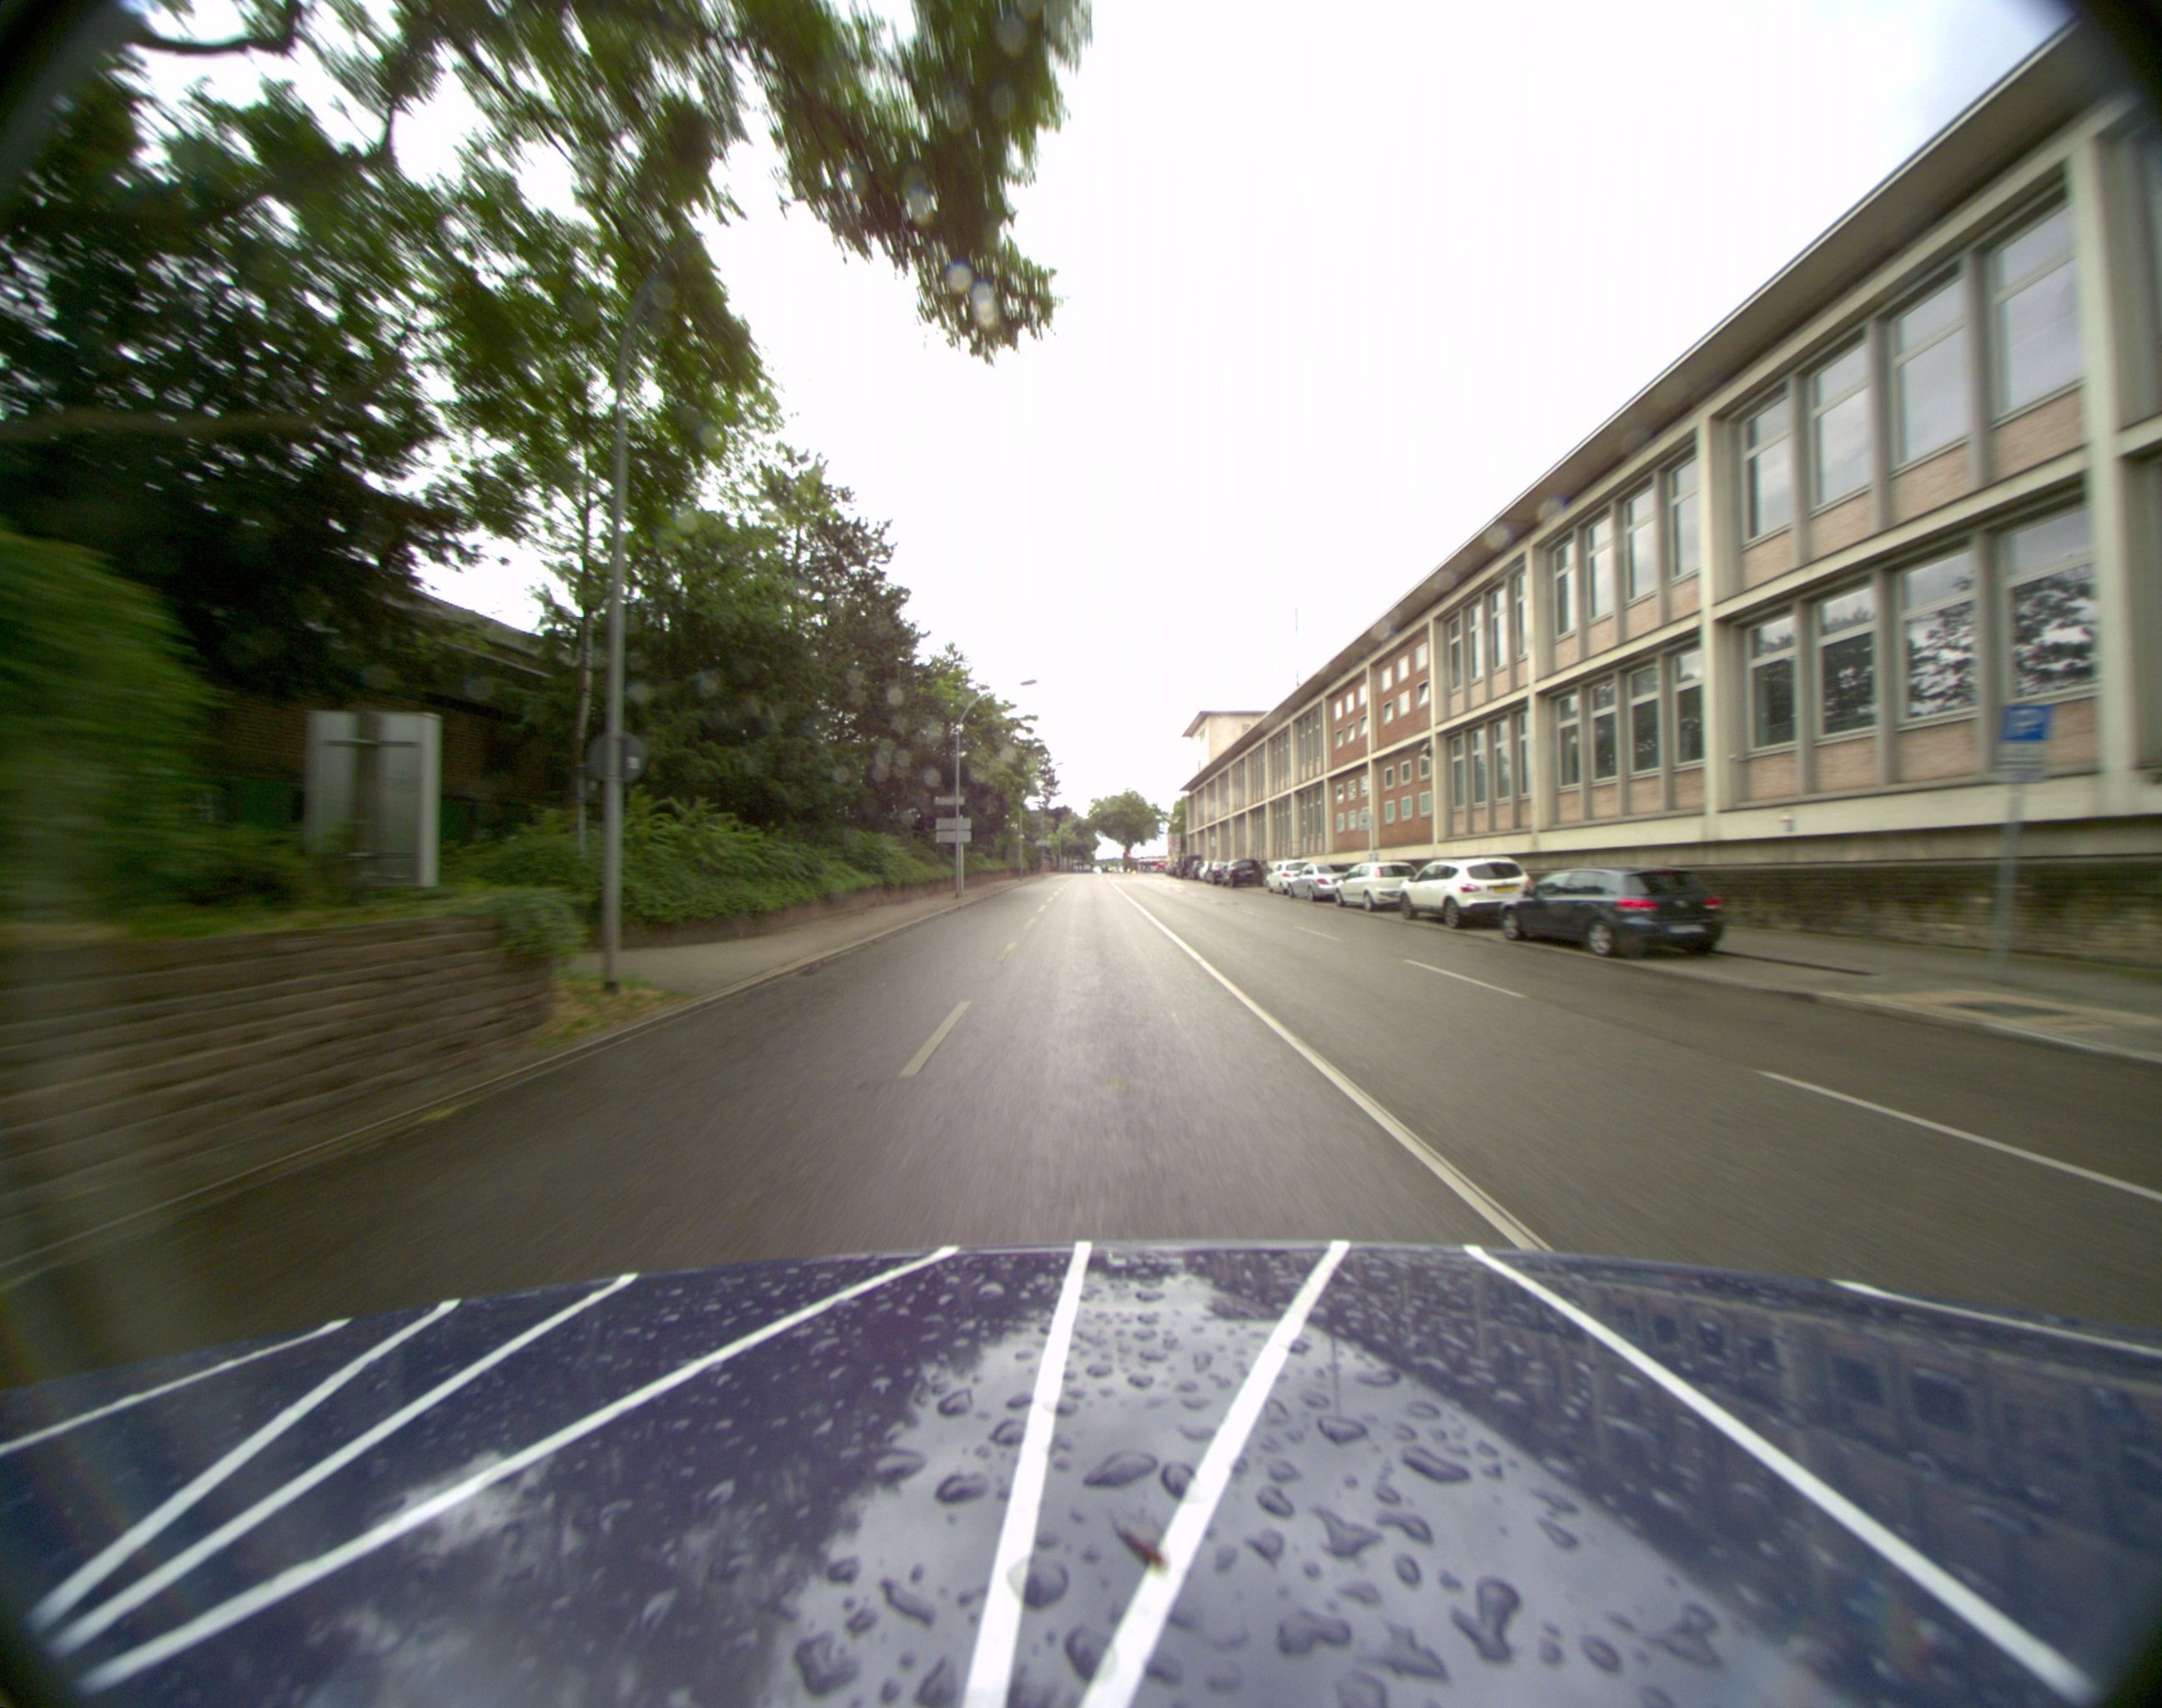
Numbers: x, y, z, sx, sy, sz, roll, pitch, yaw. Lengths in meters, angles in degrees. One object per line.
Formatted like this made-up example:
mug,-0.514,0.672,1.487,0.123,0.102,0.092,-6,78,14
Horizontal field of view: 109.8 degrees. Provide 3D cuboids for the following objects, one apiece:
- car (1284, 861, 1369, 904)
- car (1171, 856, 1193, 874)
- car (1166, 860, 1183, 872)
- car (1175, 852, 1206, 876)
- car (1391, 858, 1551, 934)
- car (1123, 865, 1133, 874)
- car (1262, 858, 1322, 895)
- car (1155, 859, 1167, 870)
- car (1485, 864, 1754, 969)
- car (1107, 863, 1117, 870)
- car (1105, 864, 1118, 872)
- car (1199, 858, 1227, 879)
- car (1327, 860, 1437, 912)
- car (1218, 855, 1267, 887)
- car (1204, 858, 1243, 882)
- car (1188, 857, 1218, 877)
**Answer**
car,9.381,1.029,29.446,1.752,1.427,4.485,-2,0,-1
car,9.875,1.038,74.350,1.801,1.666,4.604,-1,0,3
car,10.502,1.370,85.329,1.695,1.290,4.094,-1,-1,4
car,9.374,0.859,65.442,1.954,1.932,4.996,-1,0,0
car,9.417,0.944,18.778,1.752,1.588,4.181,-2,0,0
car,9.617,3.197,155.516,1.969,1.630,4.360,1,-1,2
car,9.594,0.981,34.830,1.683,1.514,3.920,-1,0,0
car,12.553,1.589,119.574,1.825,1.651,4.340,0,0,6
car,9.258,0.977,13.576,1.752,1.471,4.181,-2,0,-1
car,6.645,2.671,163.008,1.983,1.437,3.911,1,-1,5
car,5.367,2.456,133.301,1.871,1.465,3.829,1,-2,6
car,9.602,1.061,55.590,1.570,1.475,3.553,0,-1,2
car,9.472,0.955,24.267,1.752,1.445,4.181,-2,0,-1
car,9.308,0.937,44.148,1.846,1.643,4.515,-2,0,0
car,9.334,1.051,50.001,1.820,1.475,4.910,-1,-1,2
car,9.646,1.033,60.314,1.865,1.542,4.313,0,-1,2
